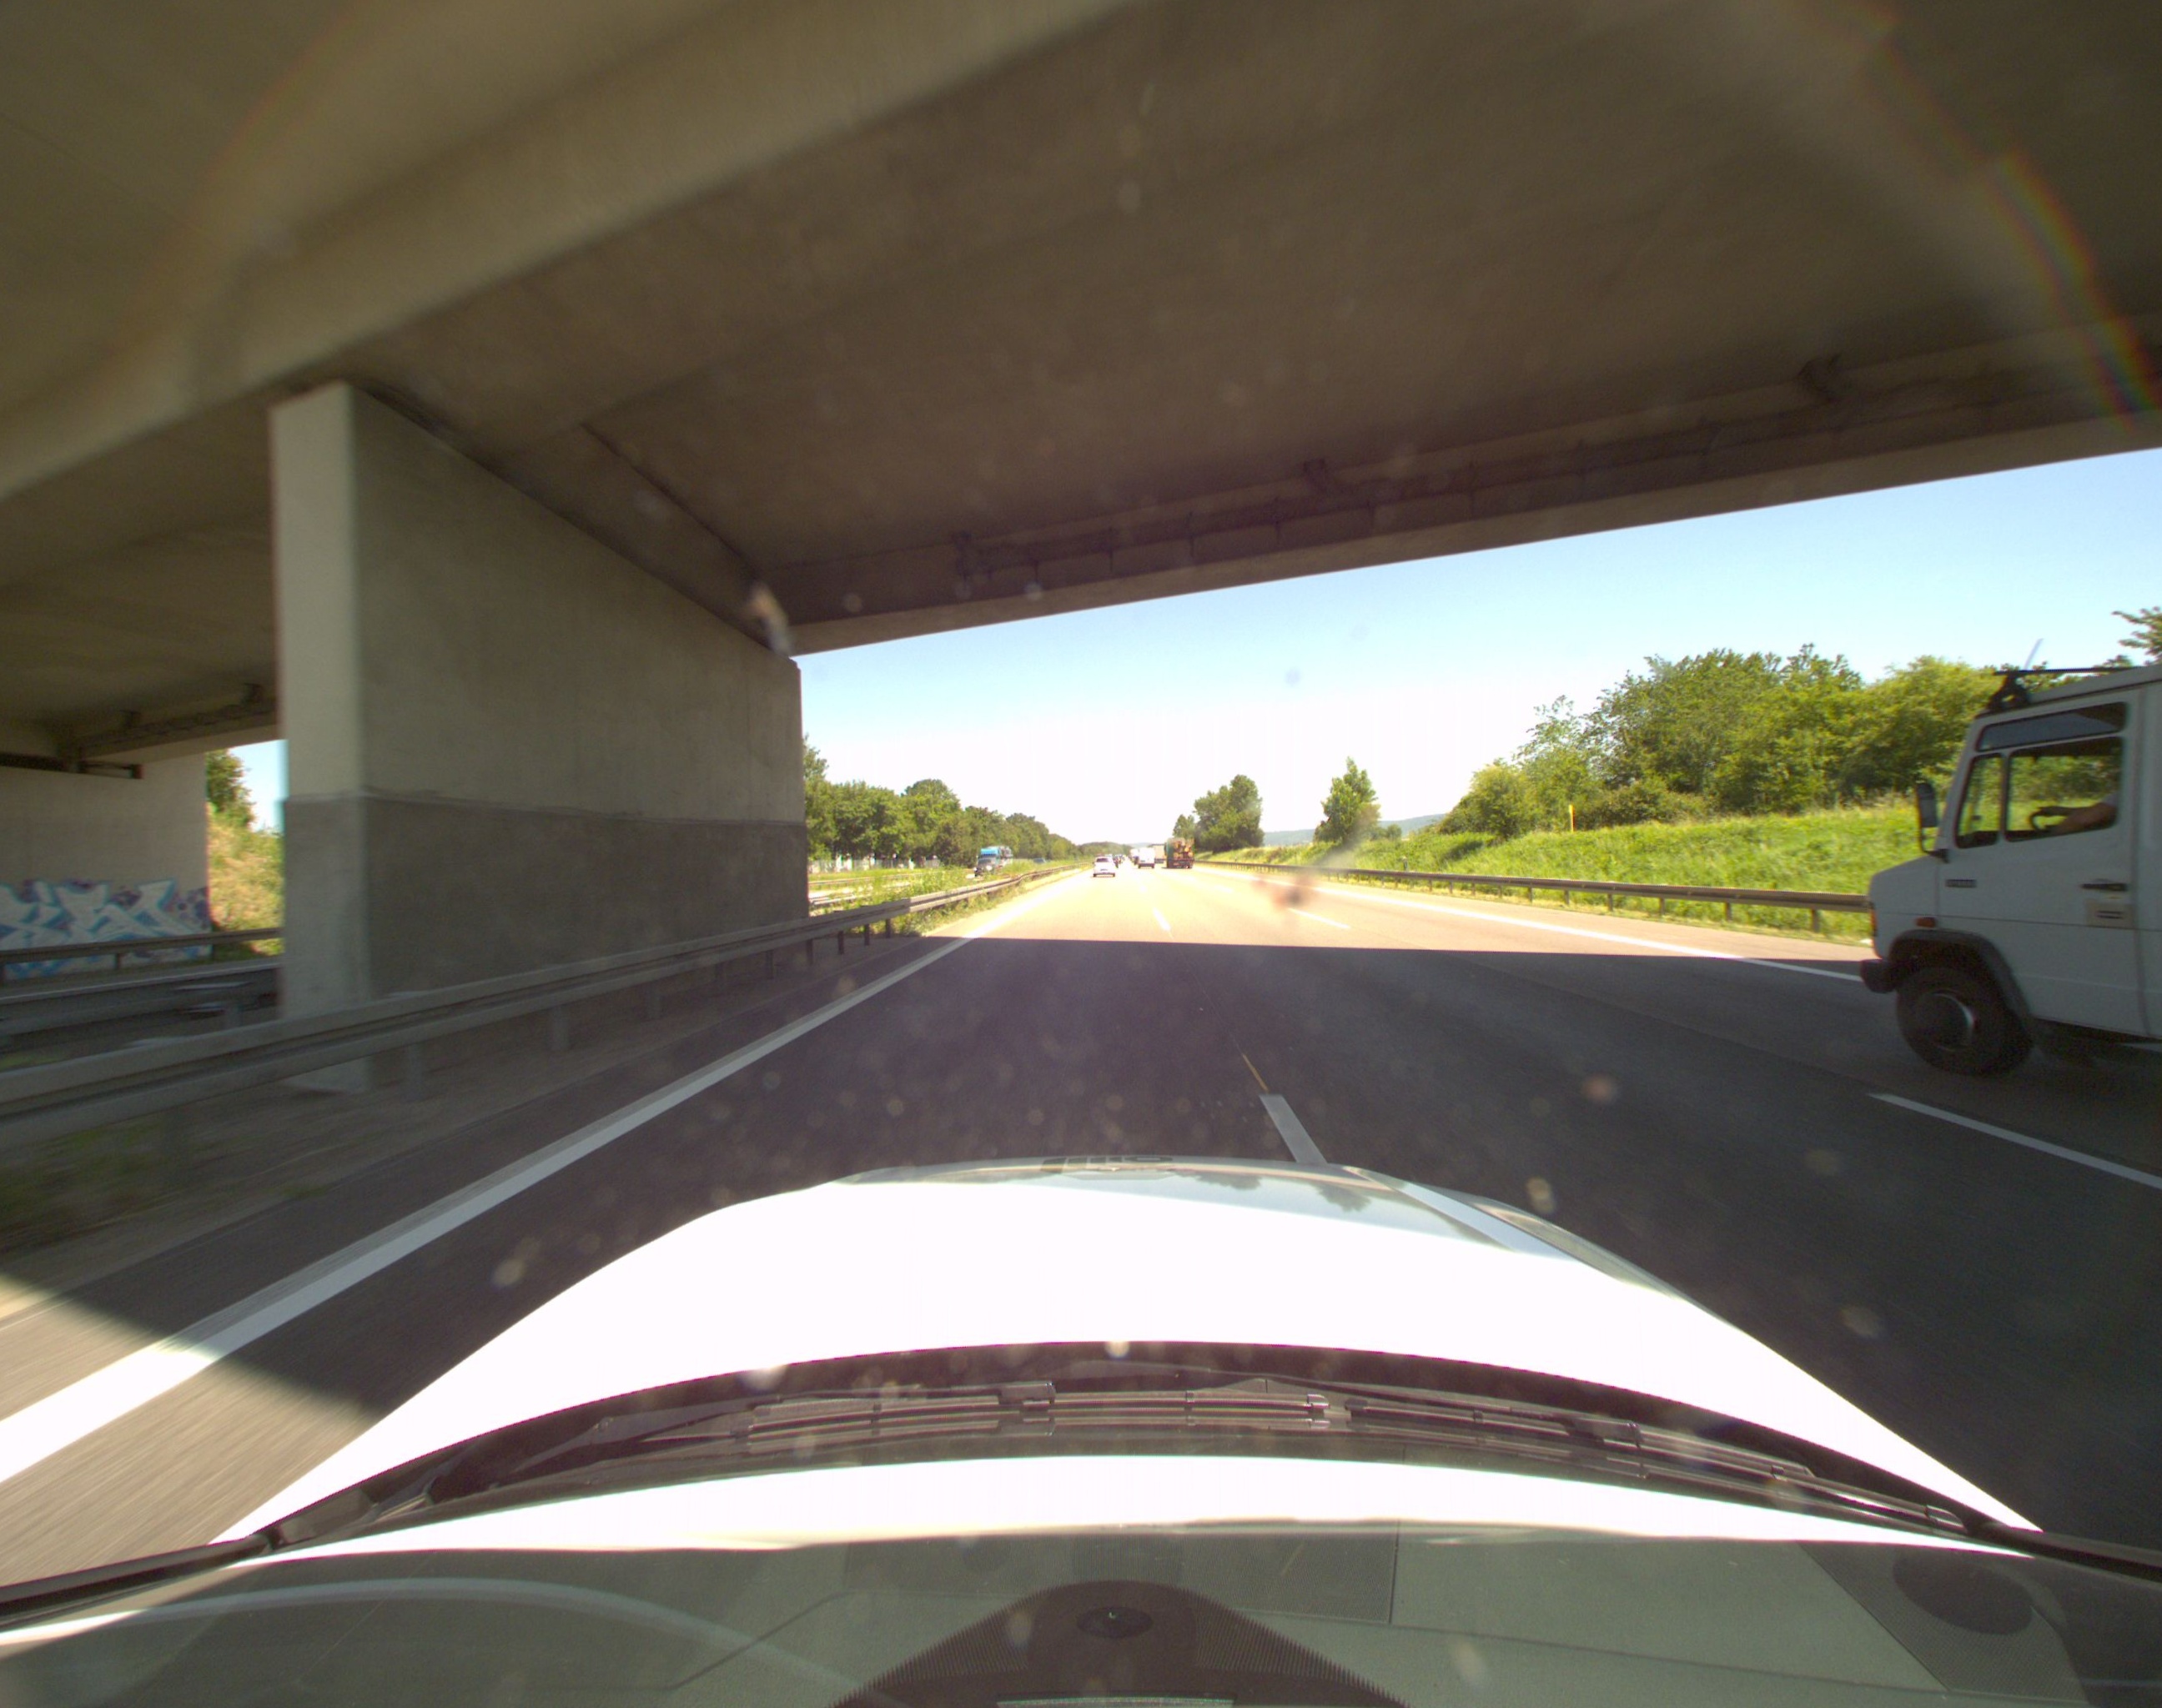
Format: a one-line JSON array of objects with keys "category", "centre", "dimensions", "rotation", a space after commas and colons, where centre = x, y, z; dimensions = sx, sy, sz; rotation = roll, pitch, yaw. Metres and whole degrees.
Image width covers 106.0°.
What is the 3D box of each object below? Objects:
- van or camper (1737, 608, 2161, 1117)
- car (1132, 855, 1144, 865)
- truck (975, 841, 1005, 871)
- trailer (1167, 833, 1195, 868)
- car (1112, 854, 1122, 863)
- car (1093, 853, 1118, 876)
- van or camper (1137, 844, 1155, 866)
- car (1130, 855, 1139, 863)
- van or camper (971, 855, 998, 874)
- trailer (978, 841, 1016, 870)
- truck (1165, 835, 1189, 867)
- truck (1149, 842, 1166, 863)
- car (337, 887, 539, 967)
[{"category": "van or camper", "centre": [6.784, 0.037, 4.040], "dimensions": [2.105, 2.703, 6.371], "rotation": [-1, 0, 2]}, {"category": "car", "centre": [9.579, 1.043, 136.512], "dimensions": [1.850, 1.652, 4.002], "rotation": [-1, 0, 2]}, {"category": "truck", "centre": [-12.951, 0.298, 116.884], "dimensions": [2.867, 3.975, 7.376], "rotation": [-5, 0, 2]}, {"category": "trailer", "centre": [12.261, -0.387, 100.940], "dimensions": [2.642, 3.958, 13.648], "rotation": [-1, 0, 3]}, {"category": "car", "centre": [6.941, 0.940, 157.492], "dimensions": [1.850, 1.652, 4.002], "rotation": [-1, 0, 2]}, {"category": "car", "centre": [1.868, 0.776, 62.216], "dimensions": [1.850, 1.652, 4.002], "rotation": [0, 0, 2]}, {"category": "van or camper", "centre": [8.175, 0.114, 102.562], "dimensions": [2.049, 2.622, 5.990], "rotation": [-1, 0, 3]}, {"category": "car", "centre": [12.298, 1.148, 186.196], "dimensions": [1.850, 1.652, 4.002], "rotation": [-1, 0, 2]}, {"category": "van or camper", "centre": [-9.985, 1.086, 84.741], "dimensions": [1.986, 1.869, 4.458], "rotation": [-3, 0, 2]}, {"category": "trailer", "centre": [-12.564, 0.236, 123.698], "dimensions": [2.867, 3.978, 17.484], "rotation": [-5, 0, 2]}, {"category": "truck", "centre": [12.675, -0.376, 108.063], "dimensions": [2.658, 3.994, 6.642], "rotation": [-1, 0, 3]}, {"category": "truck", "centre": [16.513, -0.294, 176.734], "dimensions": [3.065, 4.209, 16.860], "rotation": [0, 0, 4]}, {"category": "car", "centre": [-13.156, 1.432, 16.905], "dimensions": [1.508, 1.387, 3.170], "rotation": [0, 0, 4]}]
